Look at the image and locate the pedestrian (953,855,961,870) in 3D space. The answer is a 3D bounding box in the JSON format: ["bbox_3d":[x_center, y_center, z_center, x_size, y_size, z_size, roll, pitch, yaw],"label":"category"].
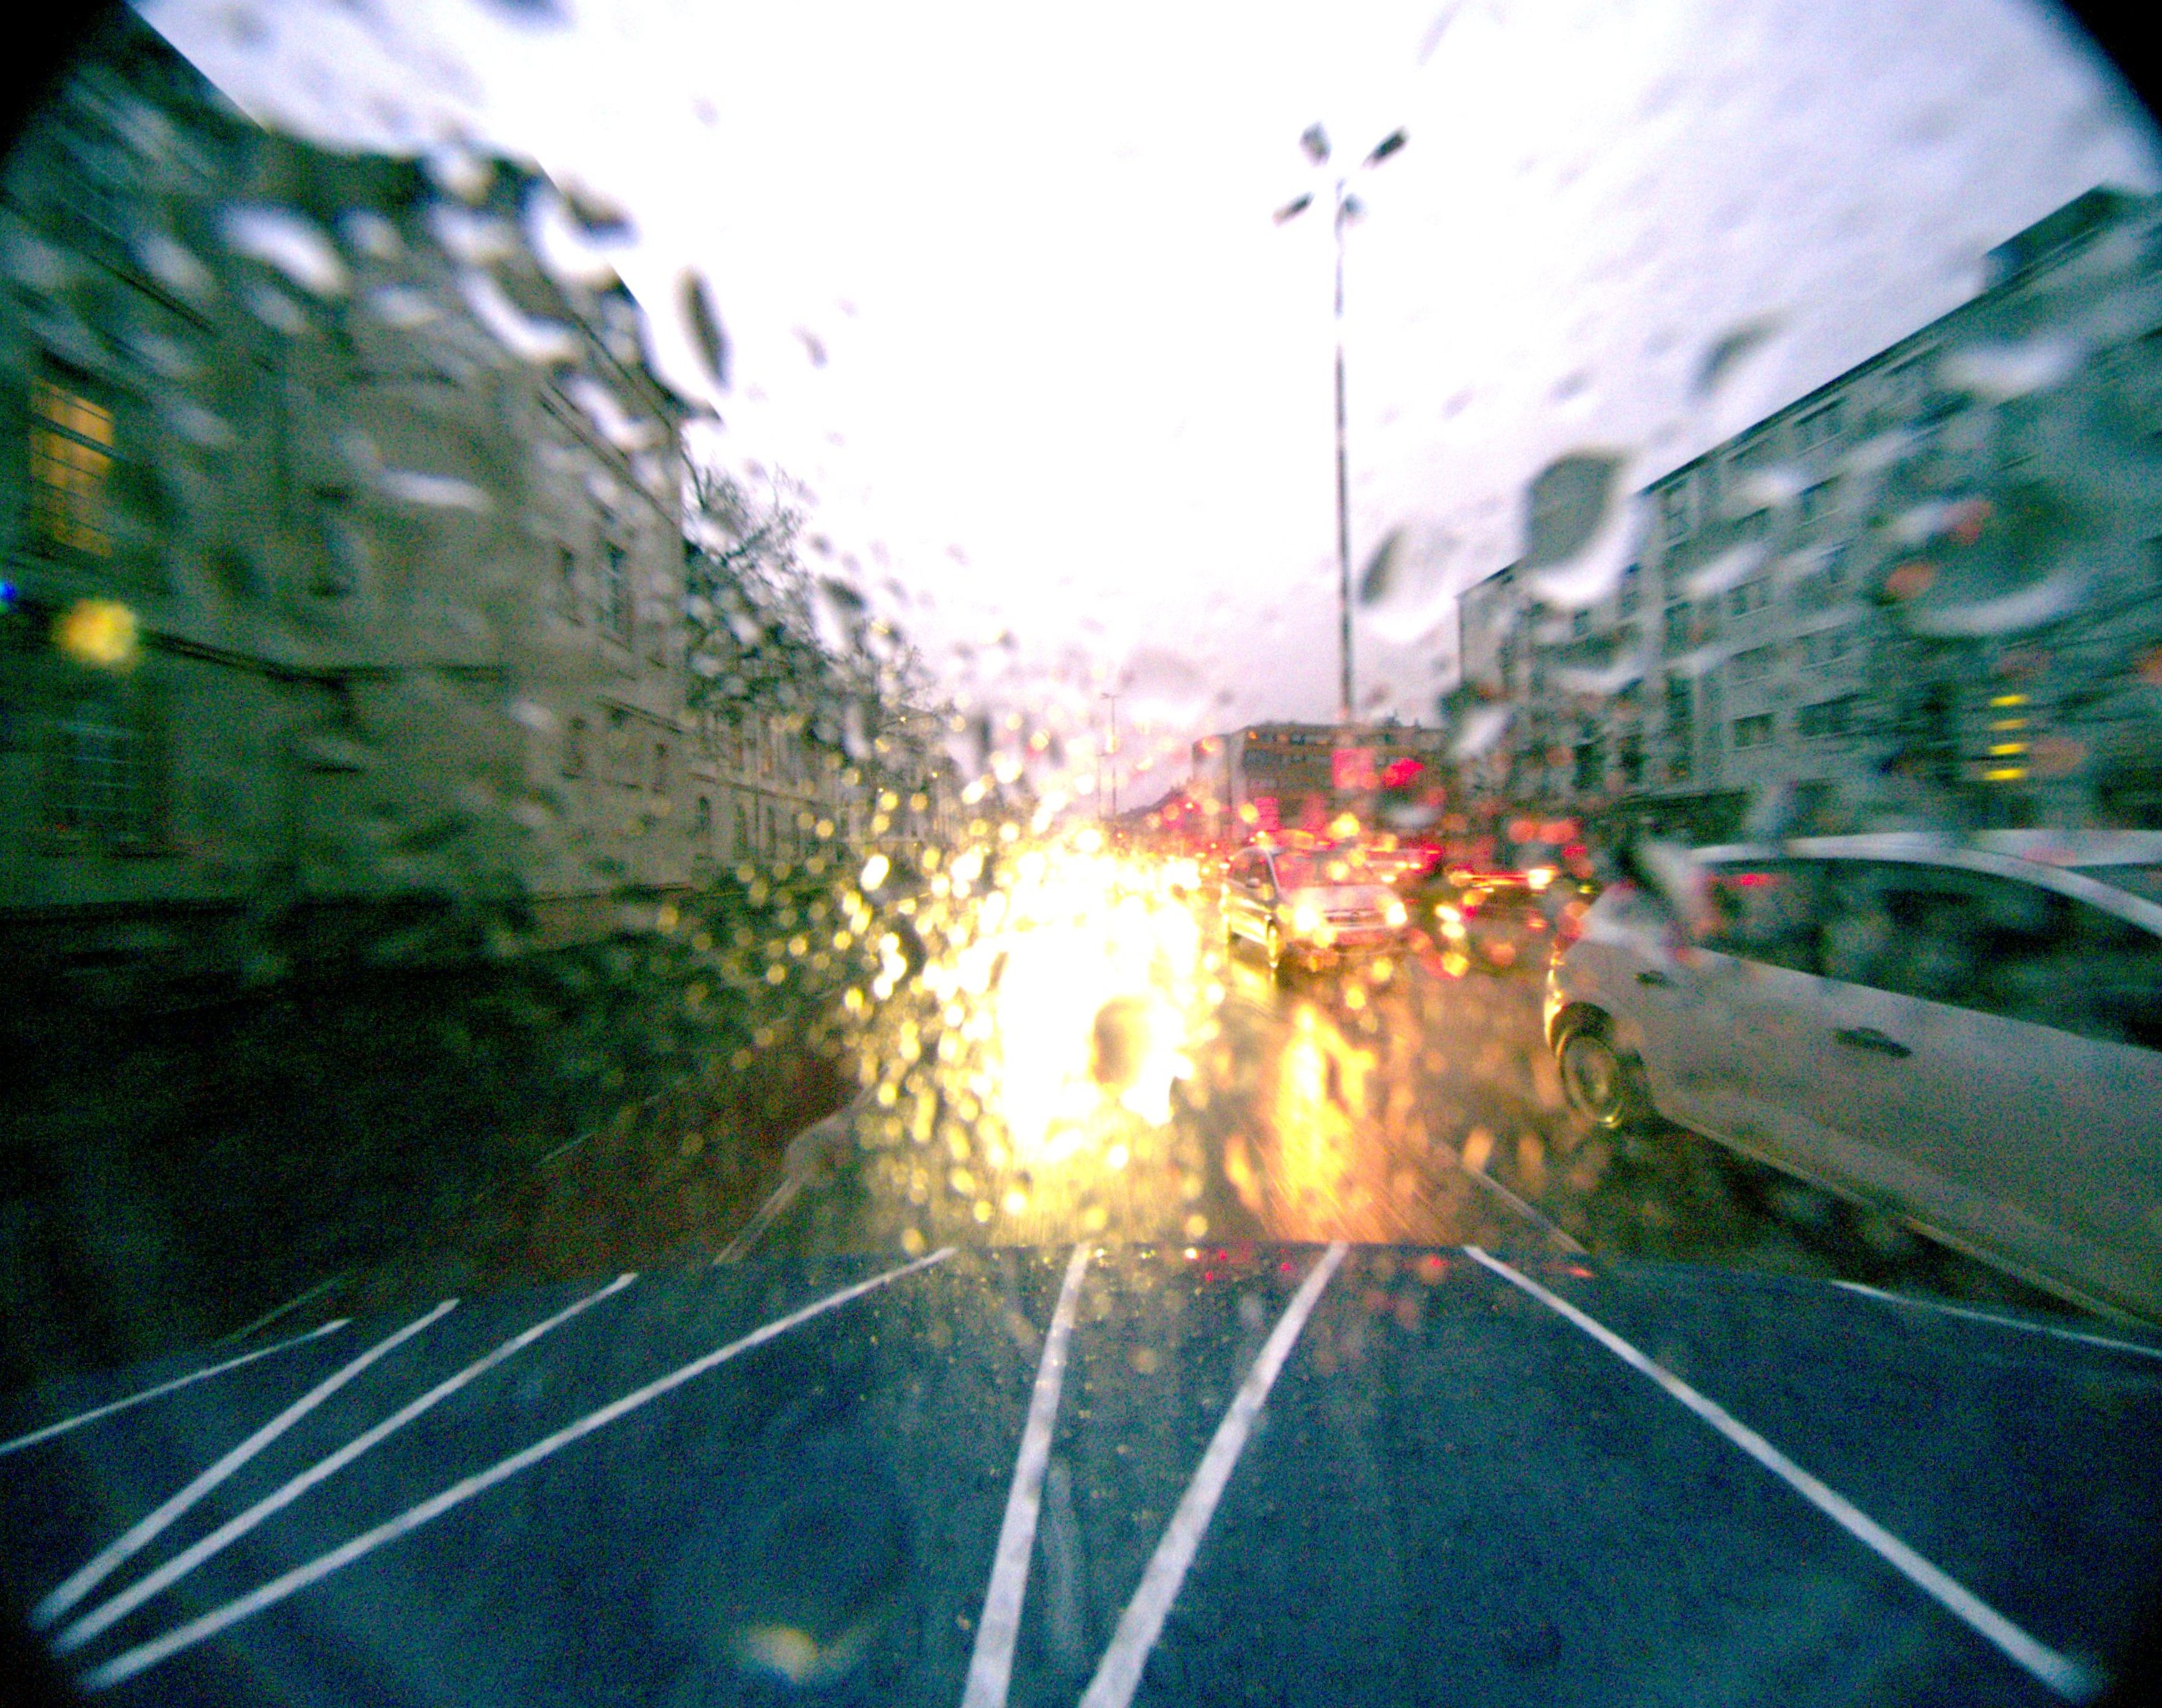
[{"bbox_3d":[-12.587,0.863,77.069,0.656,1.579,0.562,-2,0,-11],"label":"pedestrian"}]

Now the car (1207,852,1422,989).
[{"bbox_3d":[3.053,0.766,10.855,1.650,1.539,4.108,-2,0,-2],"label":"car"}]

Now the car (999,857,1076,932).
[{"bbox_3d":[-1.013,0.902,18.801,1.649,1.575,3.804,-2,1,-1],"label":"car"}]

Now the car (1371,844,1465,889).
[{"bbox_3d":[12.761,0.449,29.055,1.794,1.572,3.802,-1,0,-2],"label":"car"}]

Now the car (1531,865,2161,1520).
[{"bbox_3d":[3.318,0.802,2.187,1.630,1.478,4.000,-1,0,-1],"label":"car"}]

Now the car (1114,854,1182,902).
[{"bbox_3d":[2.233,0.769,26.378,1.753,1.535,3.998,-1,0,-4],"label":"car"}]

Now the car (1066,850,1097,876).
[{"bbox_3d":[-0.007,0.624,52.915,1.820,1.732,4.184,-1,0,-5],"label":"car"}]

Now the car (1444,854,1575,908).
[{"bbox_3d":[12.799,0.766,23.007,1.649,1.478,4.000,-1,0,-1],"label":"car"}]

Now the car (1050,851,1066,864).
[{"bbox_3d":[-3.132,0.467,101.456,1.999,1.526,3.999,-2,0,-3],"label":"car"}]

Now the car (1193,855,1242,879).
[{"bbox_3d":[8.444,0.804,47.517,1.968,1.378,4.532,-1,0,-4],"label":"car"}]

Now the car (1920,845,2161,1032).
[{"bbox_3d":[10.219,0.724,6.216,1.649,1.620,4.660,-1,0,2],"label":"car"}]

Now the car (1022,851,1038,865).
[{"bbox_3d":[-6.753,0.518,101.550,1.999,1.686,3.999,-2,0,-3],"label":"car"}]

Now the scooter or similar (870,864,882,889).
[{"bbox_3d":[-10.088,1.112,37.377,0.442,1.196,1.080,-2,0,-11],"label":"scooter or similar"}]

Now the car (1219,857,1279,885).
[{"bbox_3d":[8.896,0.869,40.651,1.968,1.378,4.532,-1,0,-4],"label":"car"}]

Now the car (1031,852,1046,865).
[{"bbox_3d":[-6.051,0.623,108.237,1.999,1.693,3.999,-2,0,-3],"label":"car"}]

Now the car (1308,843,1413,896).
[{"bbox_3d":[10.112,0.549,27.931,1.968,1.772,4.532,-1,0,-4],"label":"car"}]

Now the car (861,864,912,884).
[{"bbox_3d":[-18.695,1.939,73.201,4.568,1.708,1.724,-2,0,-12],"label":"car"}]

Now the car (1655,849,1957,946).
[{"bbox_3d":[13.432,0.725,14.521,1.649,1.557,4.280,-1,0,-1],"label":"car"}]

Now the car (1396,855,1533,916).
[{"bbox_3d":[10.270,0.775,20.686,1.649,1.478,4.000,-1,0,-1],"label":"car"}]

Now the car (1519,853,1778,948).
[{"bbox_3d":[10.141,0.743,14.045,1.649,1.478,4.144,-1,0,-1],"label":"car"}]
